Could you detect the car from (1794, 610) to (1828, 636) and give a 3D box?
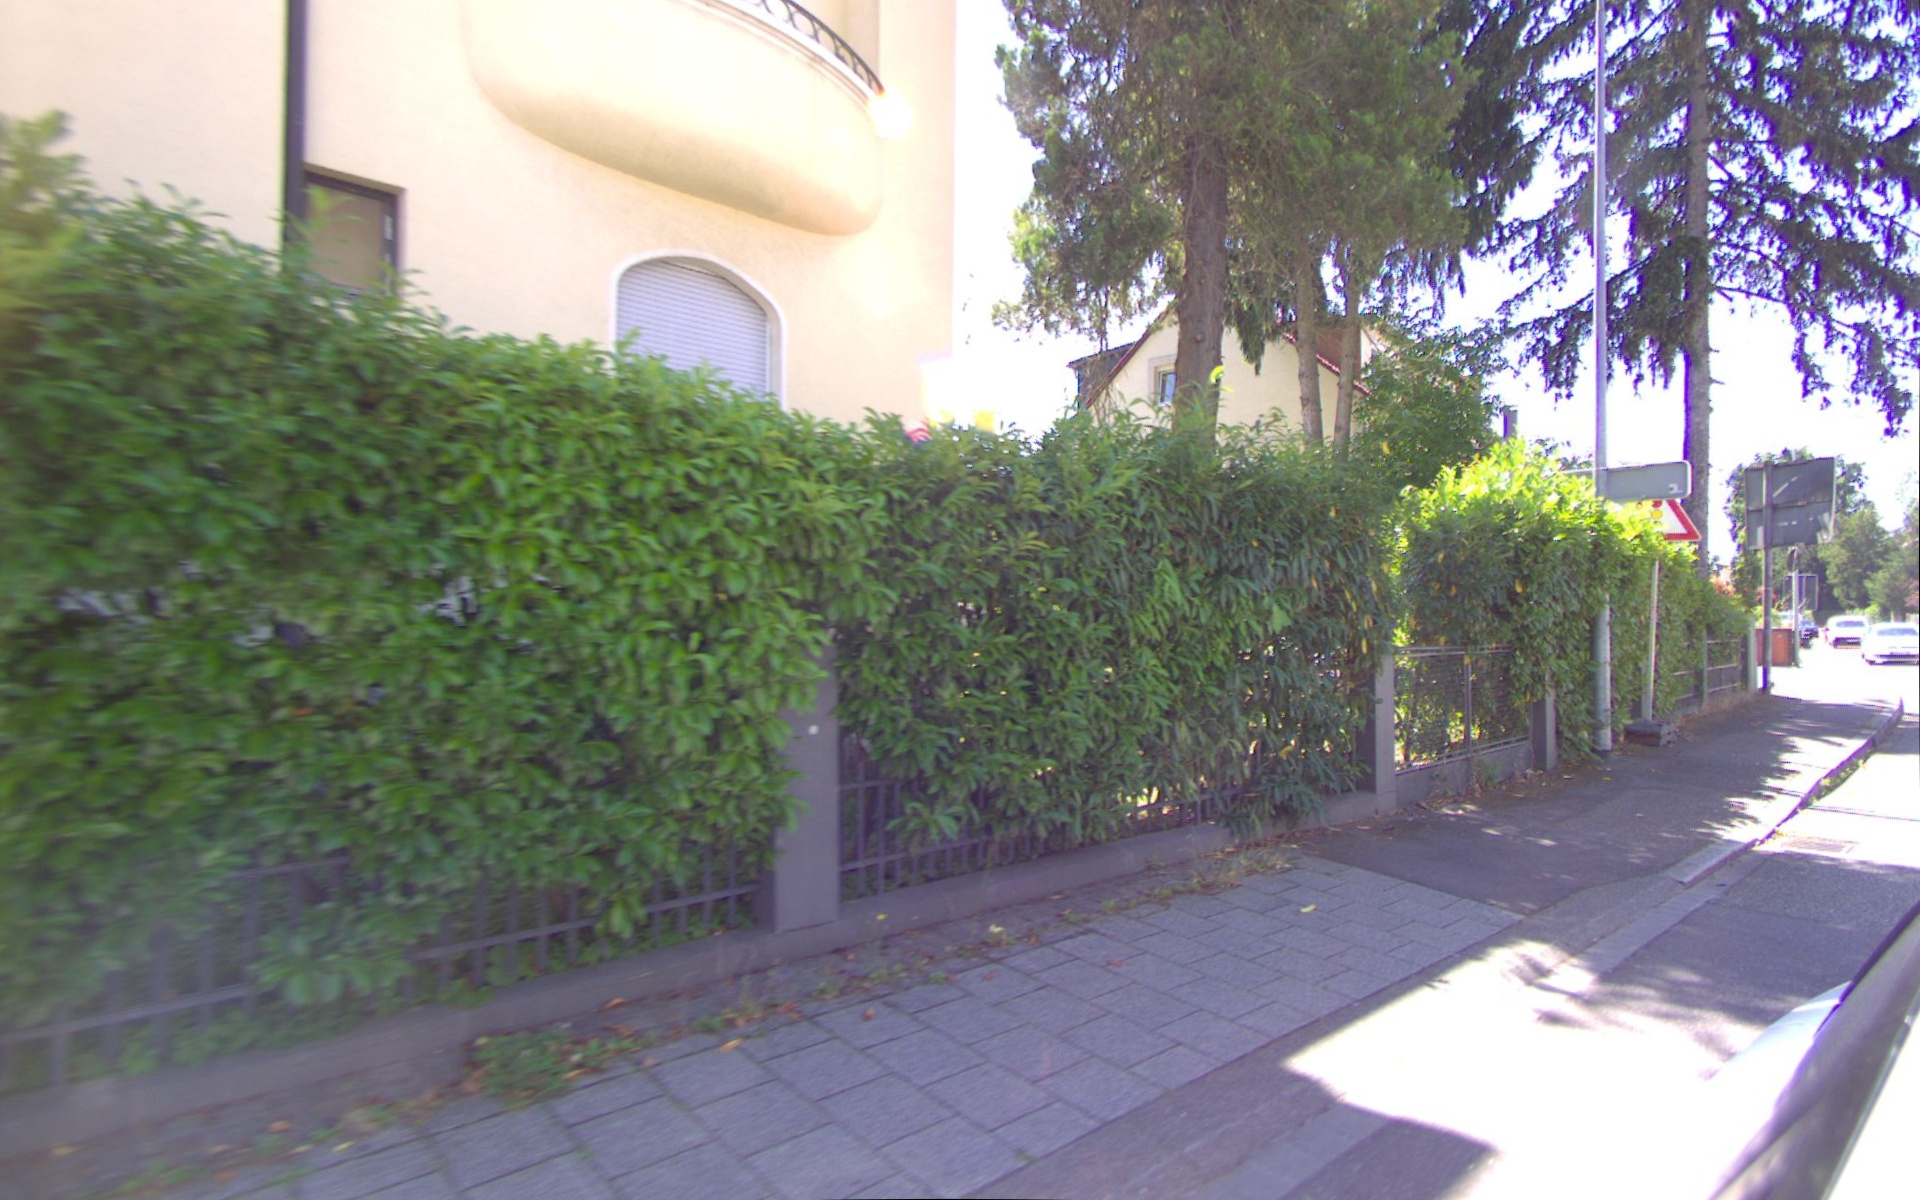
[{"bbox_3d":[63.432,1.702,75.454,1.680,1.802,3.887,-3,-2,37],"label":"car"}]

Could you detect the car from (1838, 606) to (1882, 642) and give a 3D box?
[{"bbox_3d":[49.338,1.297,55.531,1.682,1.802,3.882,-2,0,41],"label":"car"}]

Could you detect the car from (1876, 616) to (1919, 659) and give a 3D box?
[{"bbox_3d":[33.950,1.324,36.129,1.682,1.474,3.684,-2,-2,40],"label":"car"}]
